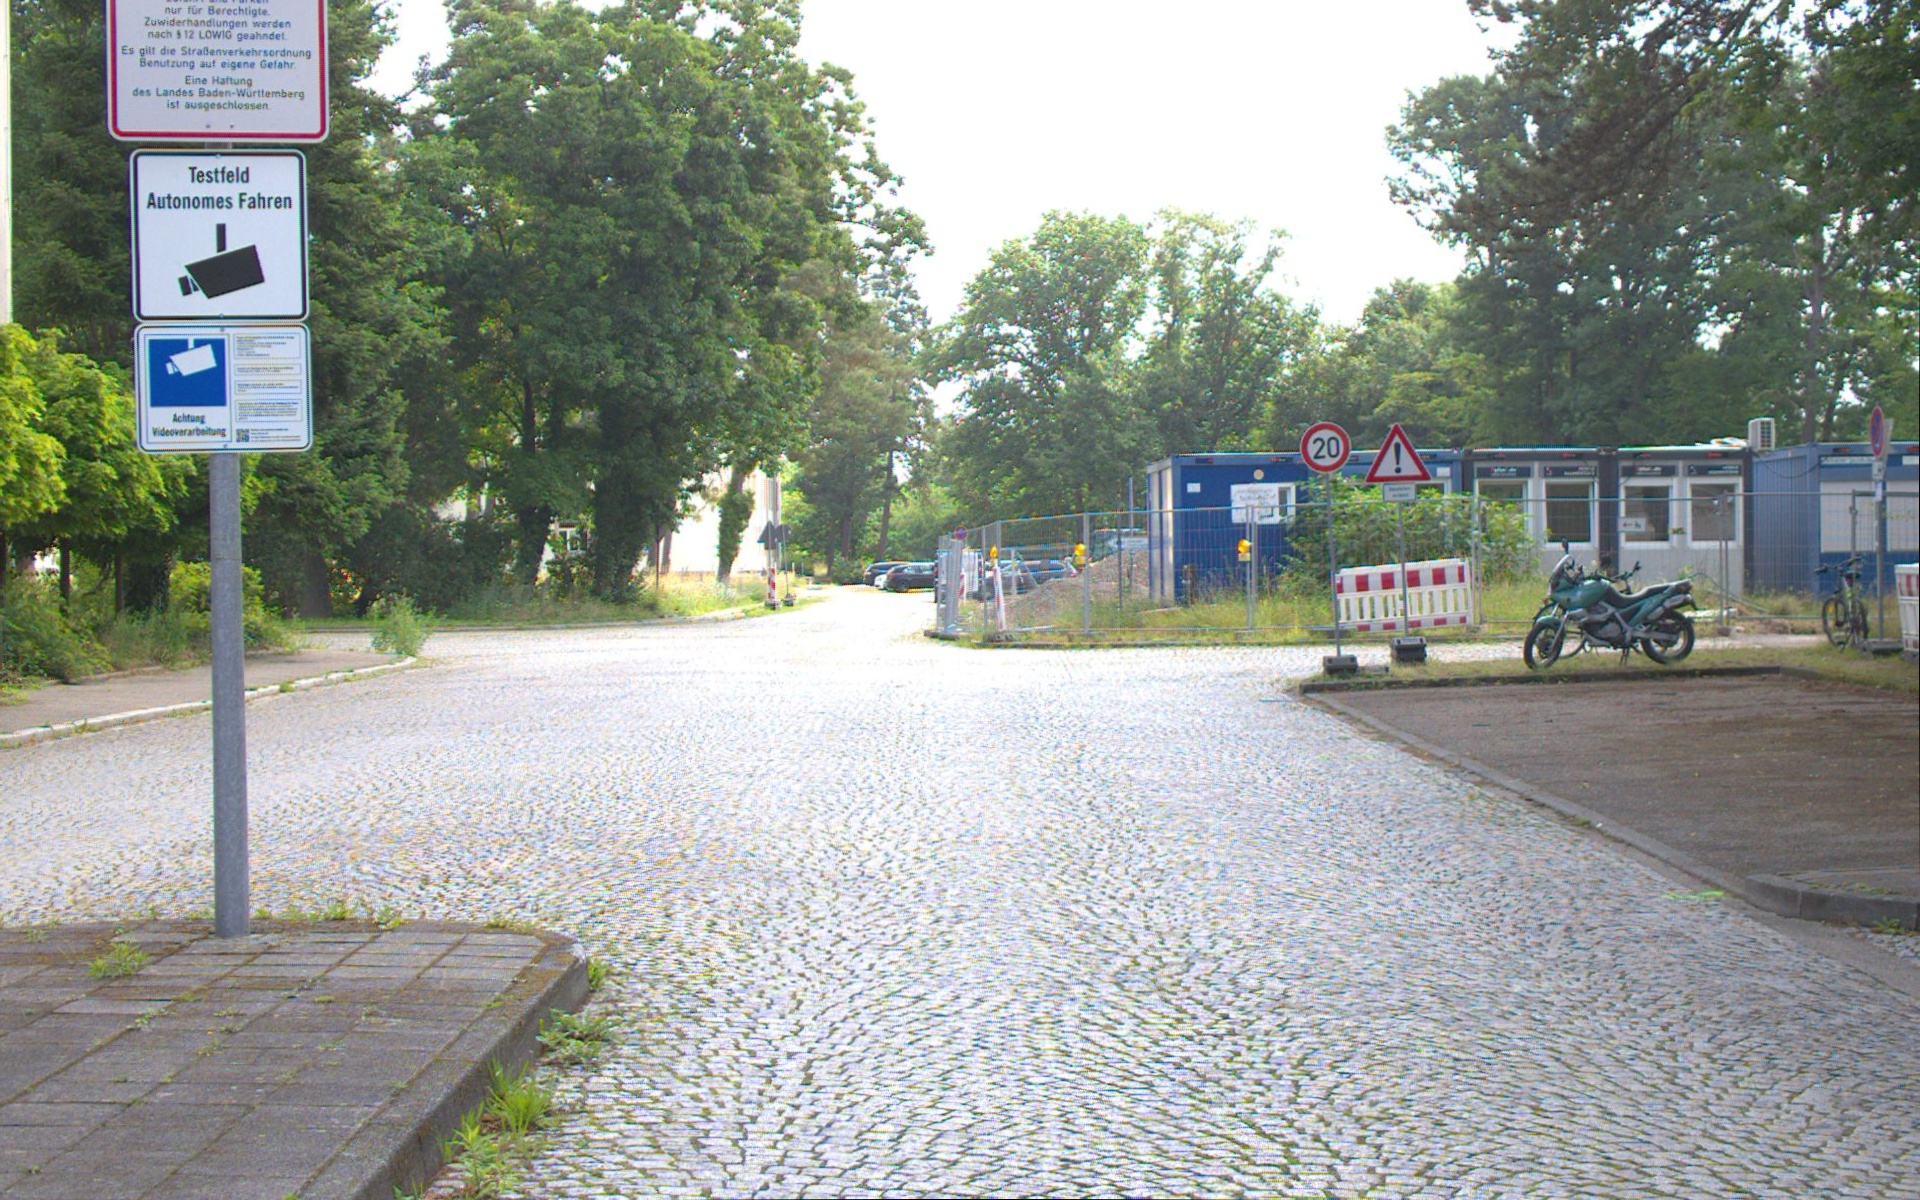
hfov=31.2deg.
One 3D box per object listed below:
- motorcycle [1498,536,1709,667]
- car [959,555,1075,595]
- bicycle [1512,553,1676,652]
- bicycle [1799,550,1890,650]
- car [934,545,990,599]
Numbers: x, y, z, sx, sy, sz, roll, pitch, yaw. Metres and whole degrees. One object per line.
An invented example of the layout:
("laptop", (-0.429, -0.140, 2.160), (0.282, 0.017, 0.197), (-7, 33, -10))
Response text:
("motorcycle", (7.513, 0.011, 40.181), (2.276, 1.480, 0.757), (-1, 1, -5))
("car", (2.286, -1.006, 137.194), (4.404, 1.505, 1.999), (1, 0, 8))
("bicycle", (7.871, 0.033, 42.685), (1.900, 1.193, 0.655), (-1, 1, 19))
("bicycle", (10.697, -0.015, 41.617), (0.642, 1.165, 1.905), (-1, 1, 2))
("car", (0.064, -1.063, 131.387), (1.993, 2.007, 4.091), (0, 0, -2))
